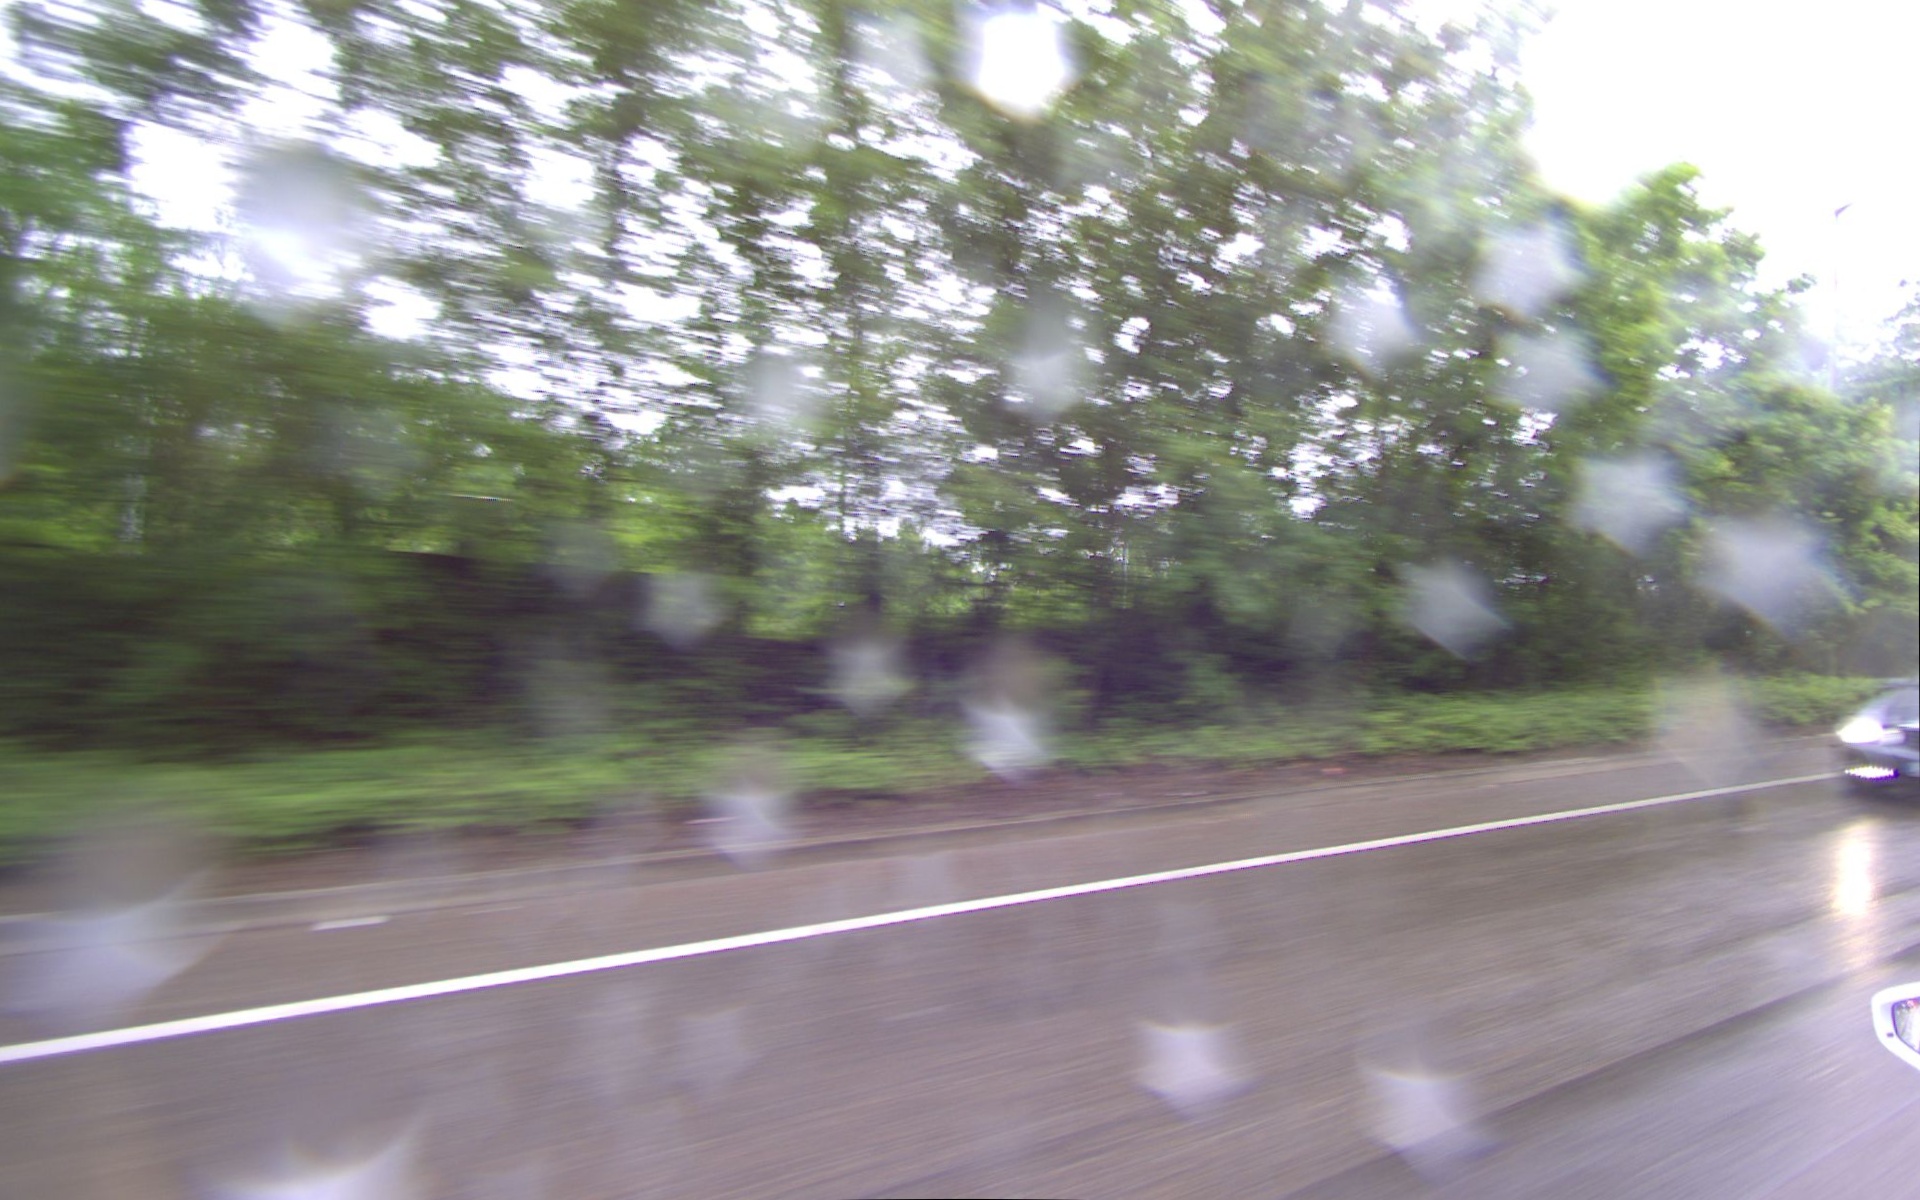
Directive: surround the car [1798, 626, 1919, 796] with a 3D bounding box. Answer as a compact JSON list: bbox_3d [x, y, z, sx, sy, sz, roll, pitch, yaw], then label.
[{"bbox_3d":[9.861,0.985,9.271,4.202,1.382,1.984,2,0,-31],"label":"car"}]
